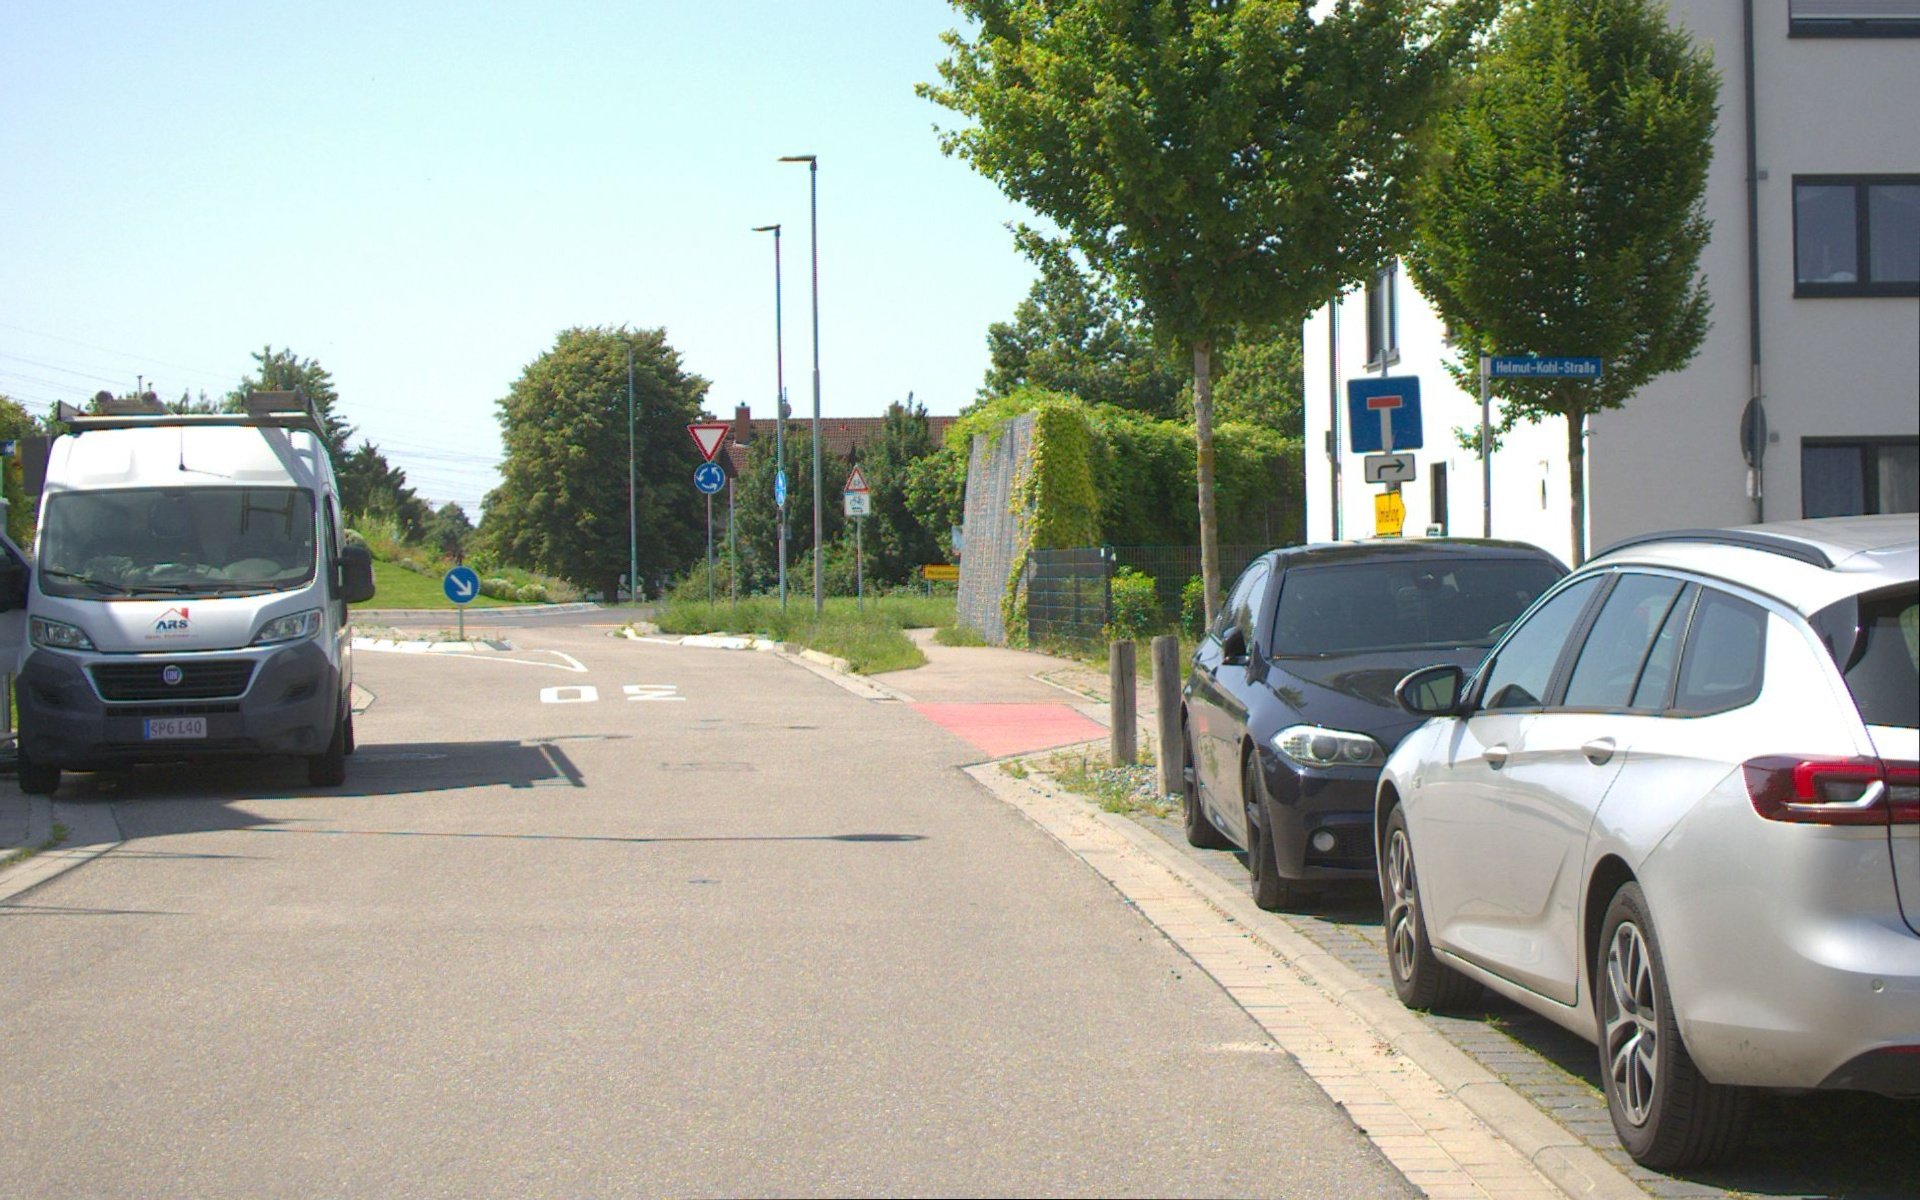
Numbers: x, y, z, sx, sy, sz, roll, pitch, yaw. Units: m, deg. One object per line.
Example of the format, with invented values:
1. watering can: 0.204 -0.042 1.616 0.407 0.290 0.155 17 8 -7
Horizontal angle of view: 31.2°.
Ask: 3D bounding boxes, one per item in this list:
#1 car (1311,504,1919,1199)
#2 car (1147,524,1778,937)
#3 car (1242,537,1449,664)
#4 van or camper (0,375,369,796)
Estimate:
1. car: 2.350 0.519 9.413 1.918 1.506 5.295 -2 1 -3
2. car: 2.031 0.433 15.475 1.918 1.464 5.140 -2 1 -1
3. car: 4.648 -0.029 42.011 1.677 1.464 4.117 0 1 -6
4. van or camper: -5.385 -0.097 24.271 2.272 2.544 6.369 -1 0 -9
